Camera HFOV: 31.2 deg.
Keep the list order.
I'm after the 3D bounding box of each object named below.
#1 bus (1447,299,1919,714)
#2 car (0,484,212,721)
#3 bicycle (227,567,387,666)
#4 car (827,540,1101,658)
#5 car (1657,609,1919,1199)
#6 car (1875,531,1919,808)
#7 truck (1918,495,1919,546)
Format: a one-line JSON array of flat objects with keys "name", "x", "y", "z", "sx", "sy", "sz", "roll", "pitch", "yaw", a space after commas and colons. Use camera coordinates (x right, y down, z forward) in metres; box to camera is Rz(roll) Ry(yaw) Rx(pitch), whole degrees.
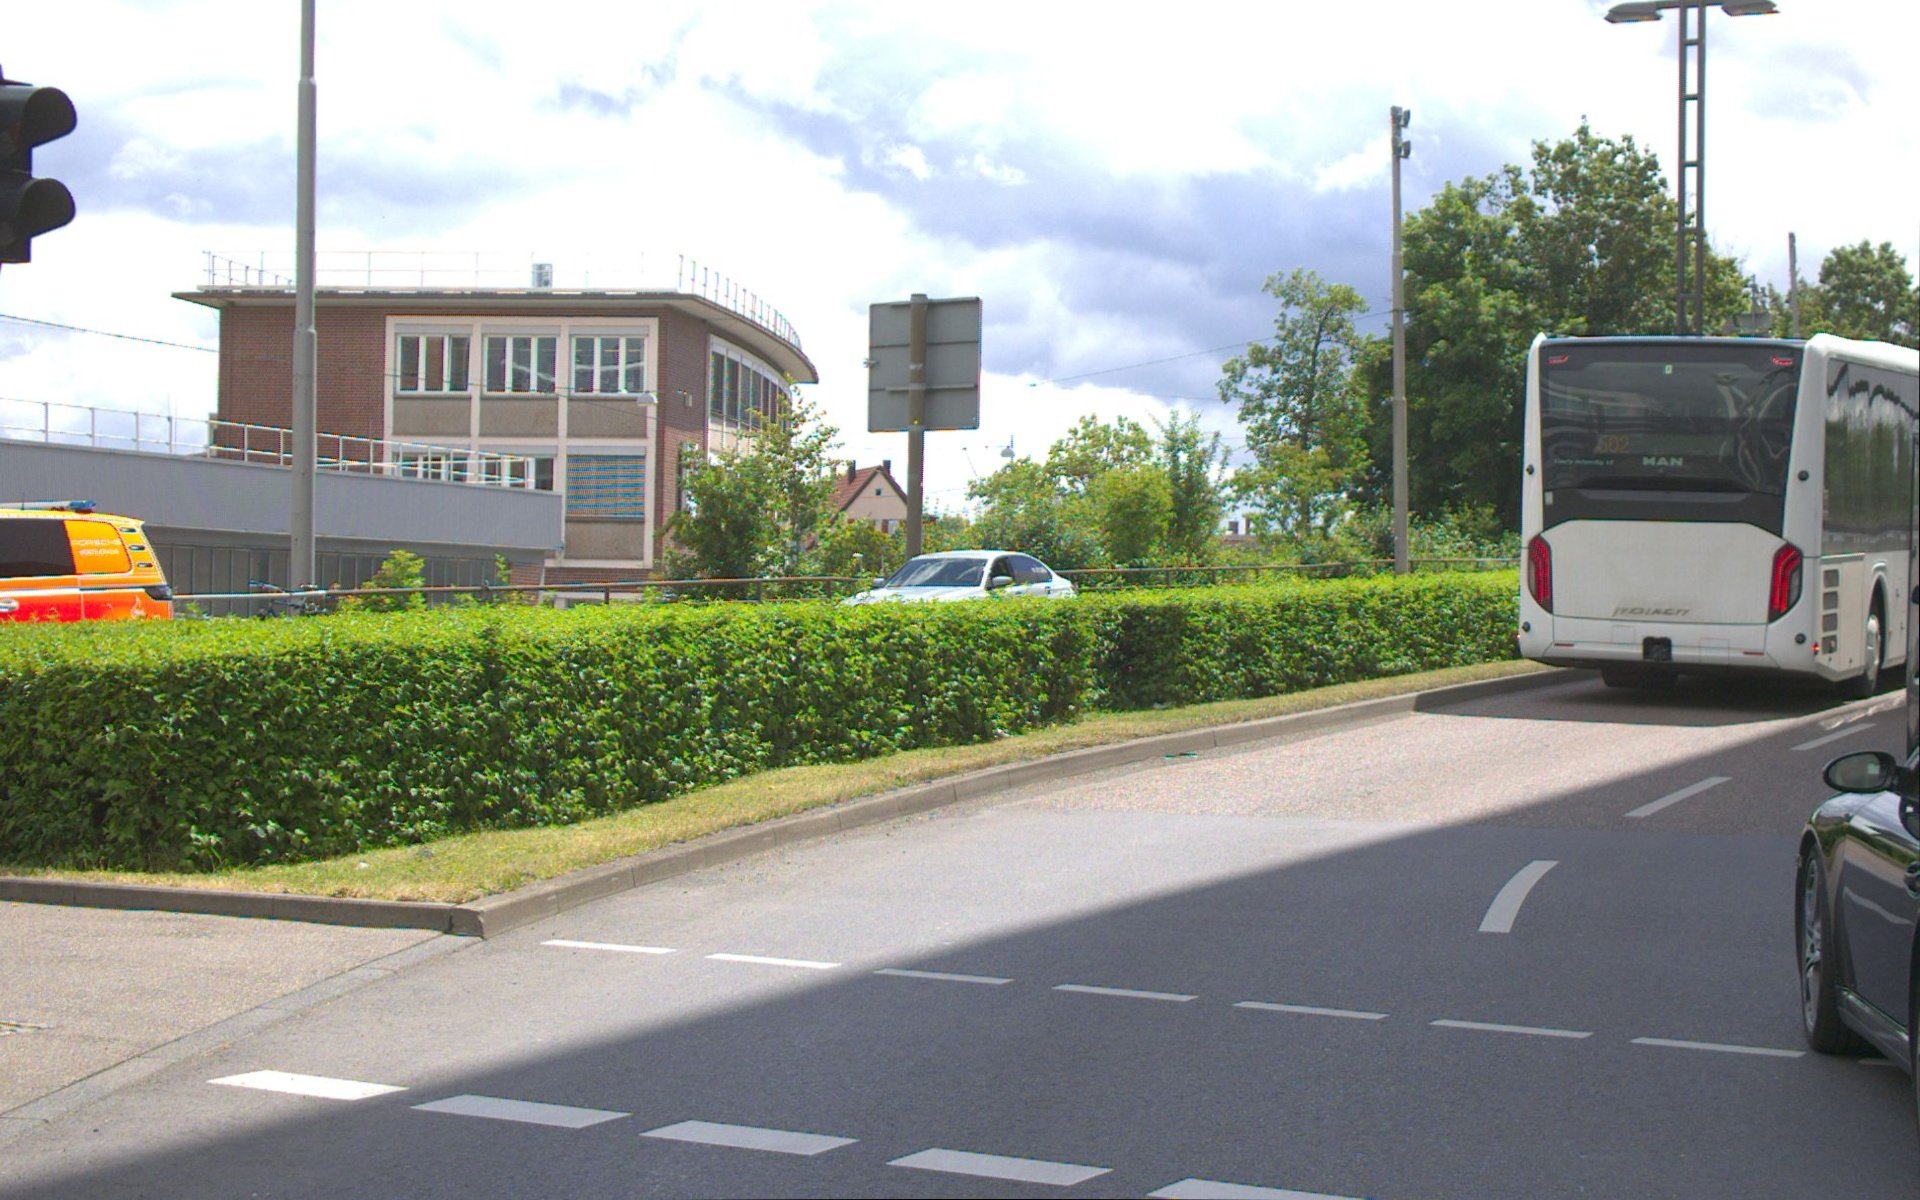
[{"name": "bus", "x": 8.138, "y": -1.004, "z": 34.143, "sx": 3.076, "sy": 3.350, "sz": 12.208, "roll": 3, "pitch": 3, "yaw": 25}, {"name": "car", "x": -8.819, "y": 0.014, "z": 29.323, "sx": 1.997, "sy": 1.977, "sz": 4.828, "roll": 0, "pitch": 0, "yaw": 31}, {"name": "bicycle", "x": -7.455, "y": 0.177, "z": 39.338, "sx": 0.453, "sy": 1.067, "sz": 2.292, "roll": 2, "pitch": 2, "yaw": 28}, {"name": "car", "x": 0.123, "y": -0.057, "z": 45.646, "sx": 1.757, "sy": 1.393, "sz": 4.667, "roll": 3, "pitch": 2, "yaw": 25}, {"name": "car", "x": 3.094, "y": 0.762, "z": 8.829, "sx": 1.834, "sy": 1.321, "sz": 4.000, "roll": 1, "pitch": 2, "yaw": 1}, {"name": "car", "x": 7.189, "y": 0.411, "z": 21.985, "sx": 1.996, "sy": 1.631, "sz": 3.995, "roll": 3, "pitch": 2, "yaw": 23}, {"name": "truck", "x": 31.519, "y": -2.875, "z": 105.606, "sx": 2.199, "sy": 2.951, "sz": 8.938, "roll": 3, "pitch": -1, "yaw": 27}]
